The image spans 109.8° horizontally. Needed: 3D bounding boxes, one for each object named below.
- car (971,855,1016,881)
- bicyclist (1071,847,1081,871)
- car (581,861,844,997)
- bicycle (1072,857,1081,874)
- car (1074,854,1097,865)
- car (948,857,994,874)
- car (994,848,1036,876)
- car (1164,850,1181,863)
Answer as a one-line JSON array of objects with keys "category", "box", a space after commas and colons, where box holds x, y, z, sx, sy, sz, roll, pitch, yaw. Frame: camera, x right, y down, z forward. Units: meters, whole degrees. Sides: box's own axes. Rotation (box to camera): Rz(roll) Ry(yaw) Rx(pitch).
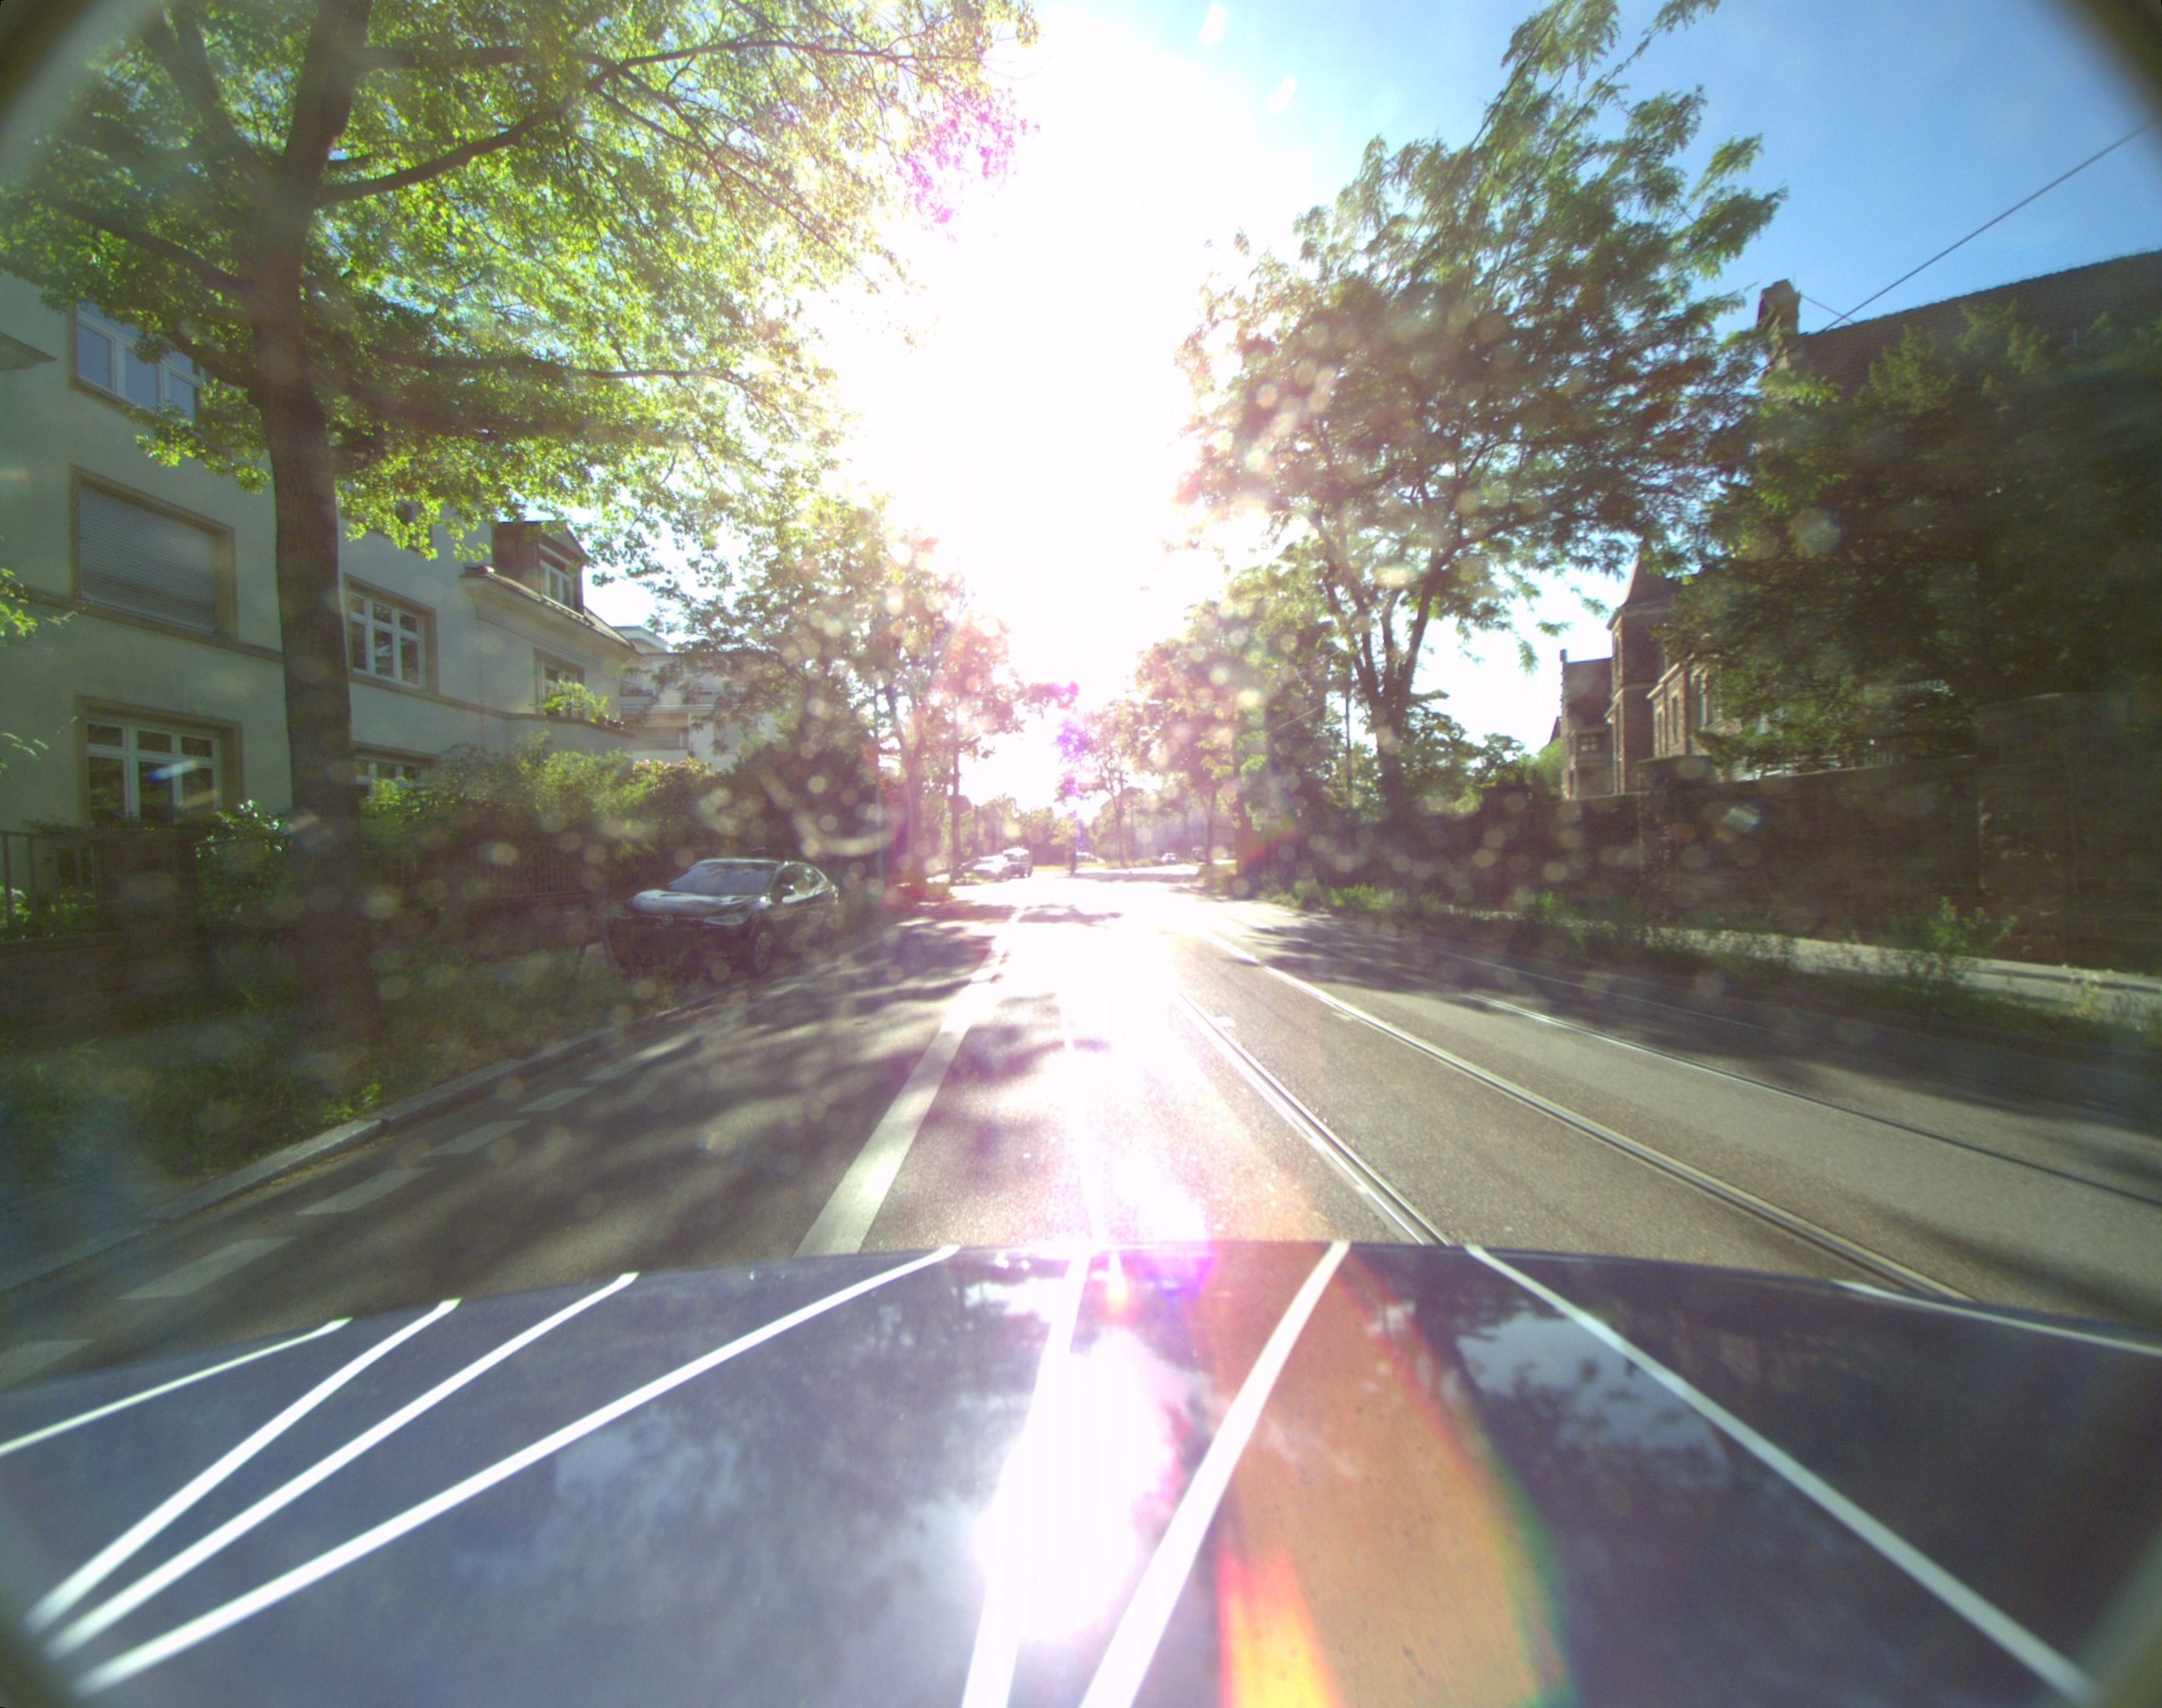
[{"category": "car", "box": [-5.174, 0.790, 45.332, 1.901, 1.402, 4.260, -1, 0, 4]}, {"category": "bicyclist", "box": [-0.340, 0.334, 52.924, 0.644, 1.632, 0.665, -2, 1, 1]}, {"category": "car", "box": [-5.206, 0.947, 11.505, 1.919, 1.590, 4.258, 2, 0, -1]}, {"category": "bicycle", "box": [-0.316, 0.786, 52.963, 0.588, 1.105, 1.855, -2, 0, 1]}, {"category": "car", "box": [0.739, 0.904, 128.787, 3.908, 1.683, 1.905, -1, 1, -1]}, {"category": "car", "box": [-10.053, 1.039, 69.536, 3.998, 1.433, 1.813, -2, 0, -3]}, {"category": "car", "box": [-4.412, 0.501, 51.687, 1.900, 1.775, 4.670, -1, 0, 6]}, {"category": "car", "box": [11.903, 0.304, 98.720, 1.997, 1.539, 4.002, -2, 0, 8]}]
